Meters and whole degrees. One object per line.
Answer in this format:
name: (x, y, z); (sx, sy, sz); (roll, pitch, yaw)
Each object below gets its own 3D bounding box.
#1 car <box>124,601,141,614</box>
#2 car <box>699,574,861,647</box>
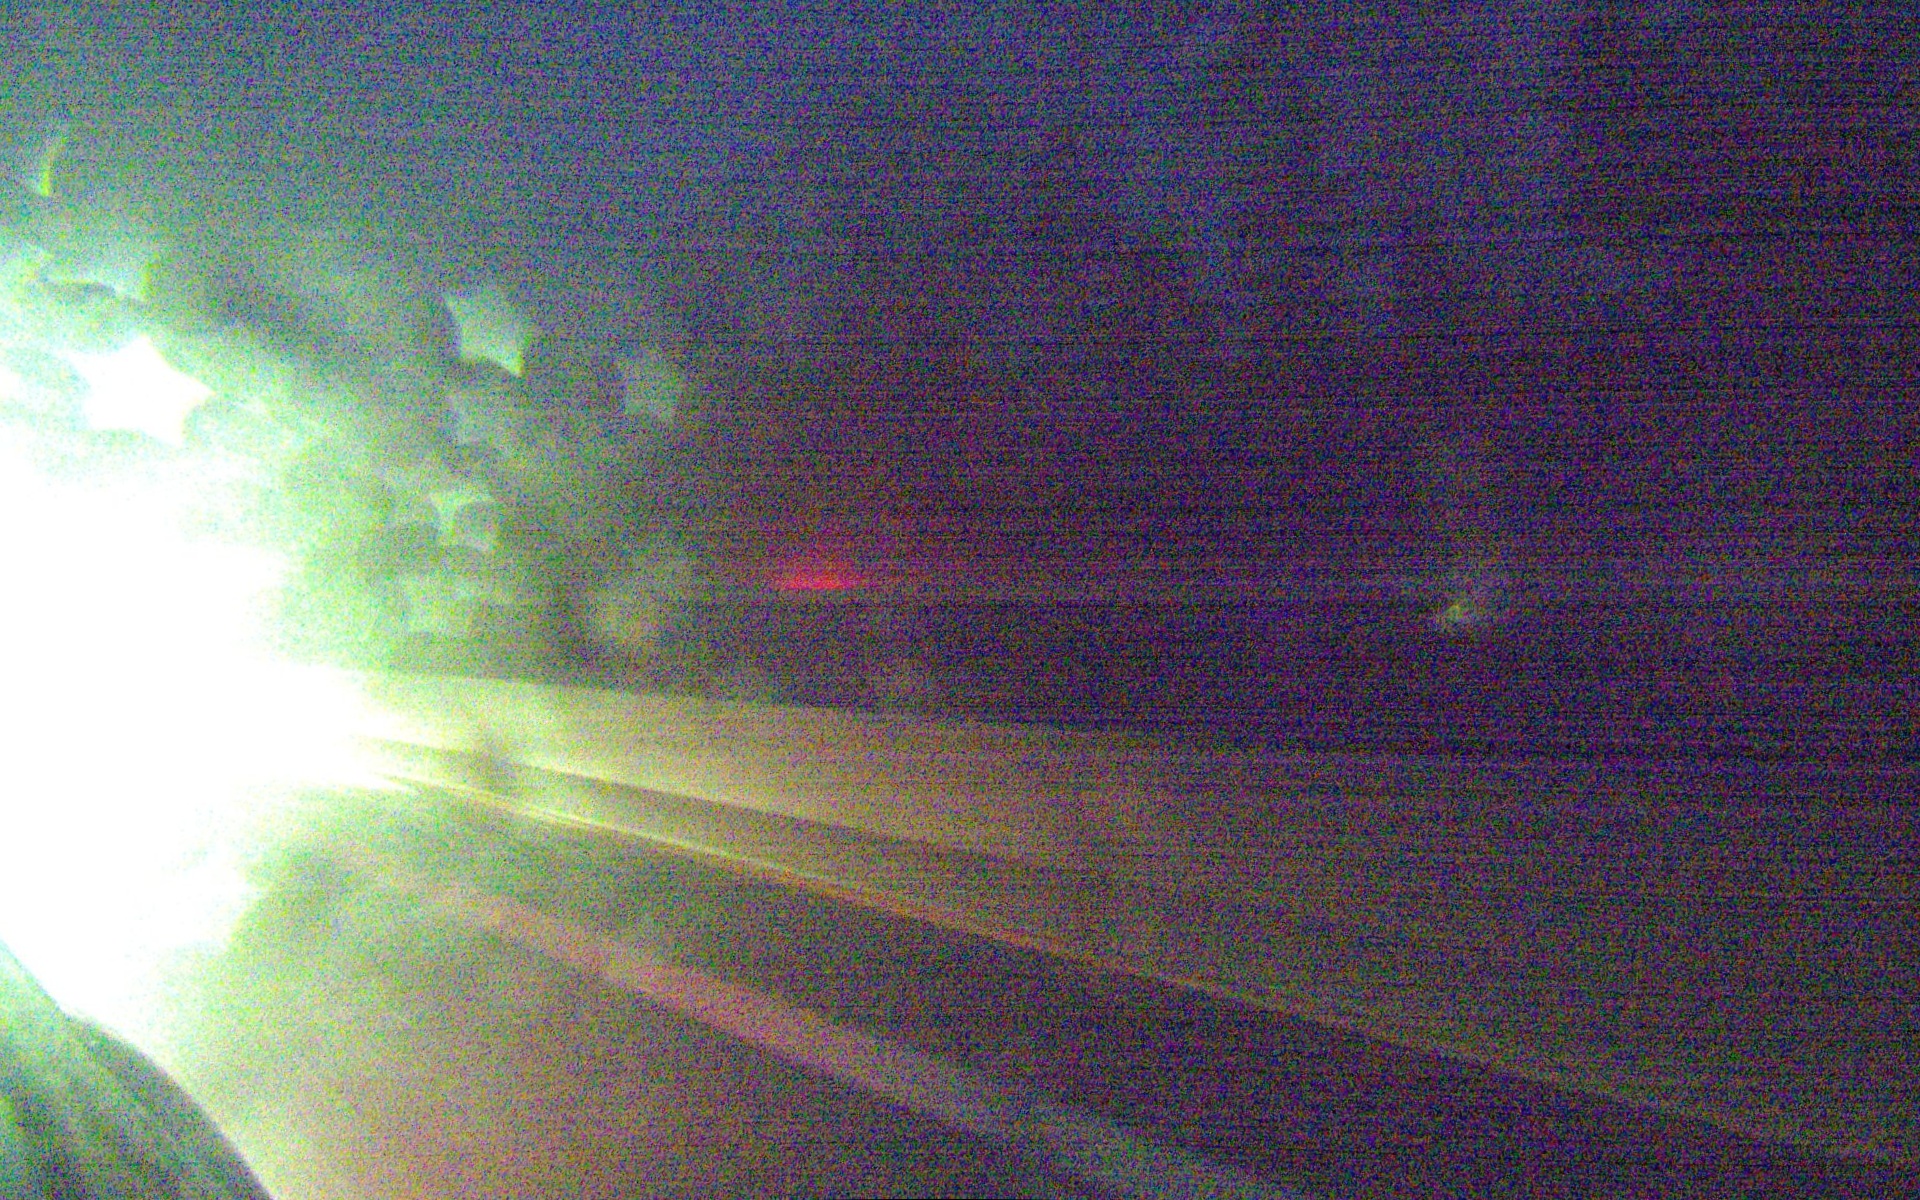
car: (-144.463, 1.271, 176.683); (1.970, 2.028, 5.196); (-6, 3, -41)
car: (-4.649, 0.295, 25.927); (3.999, 1.616, 1.973); (-3, 3, 43)
